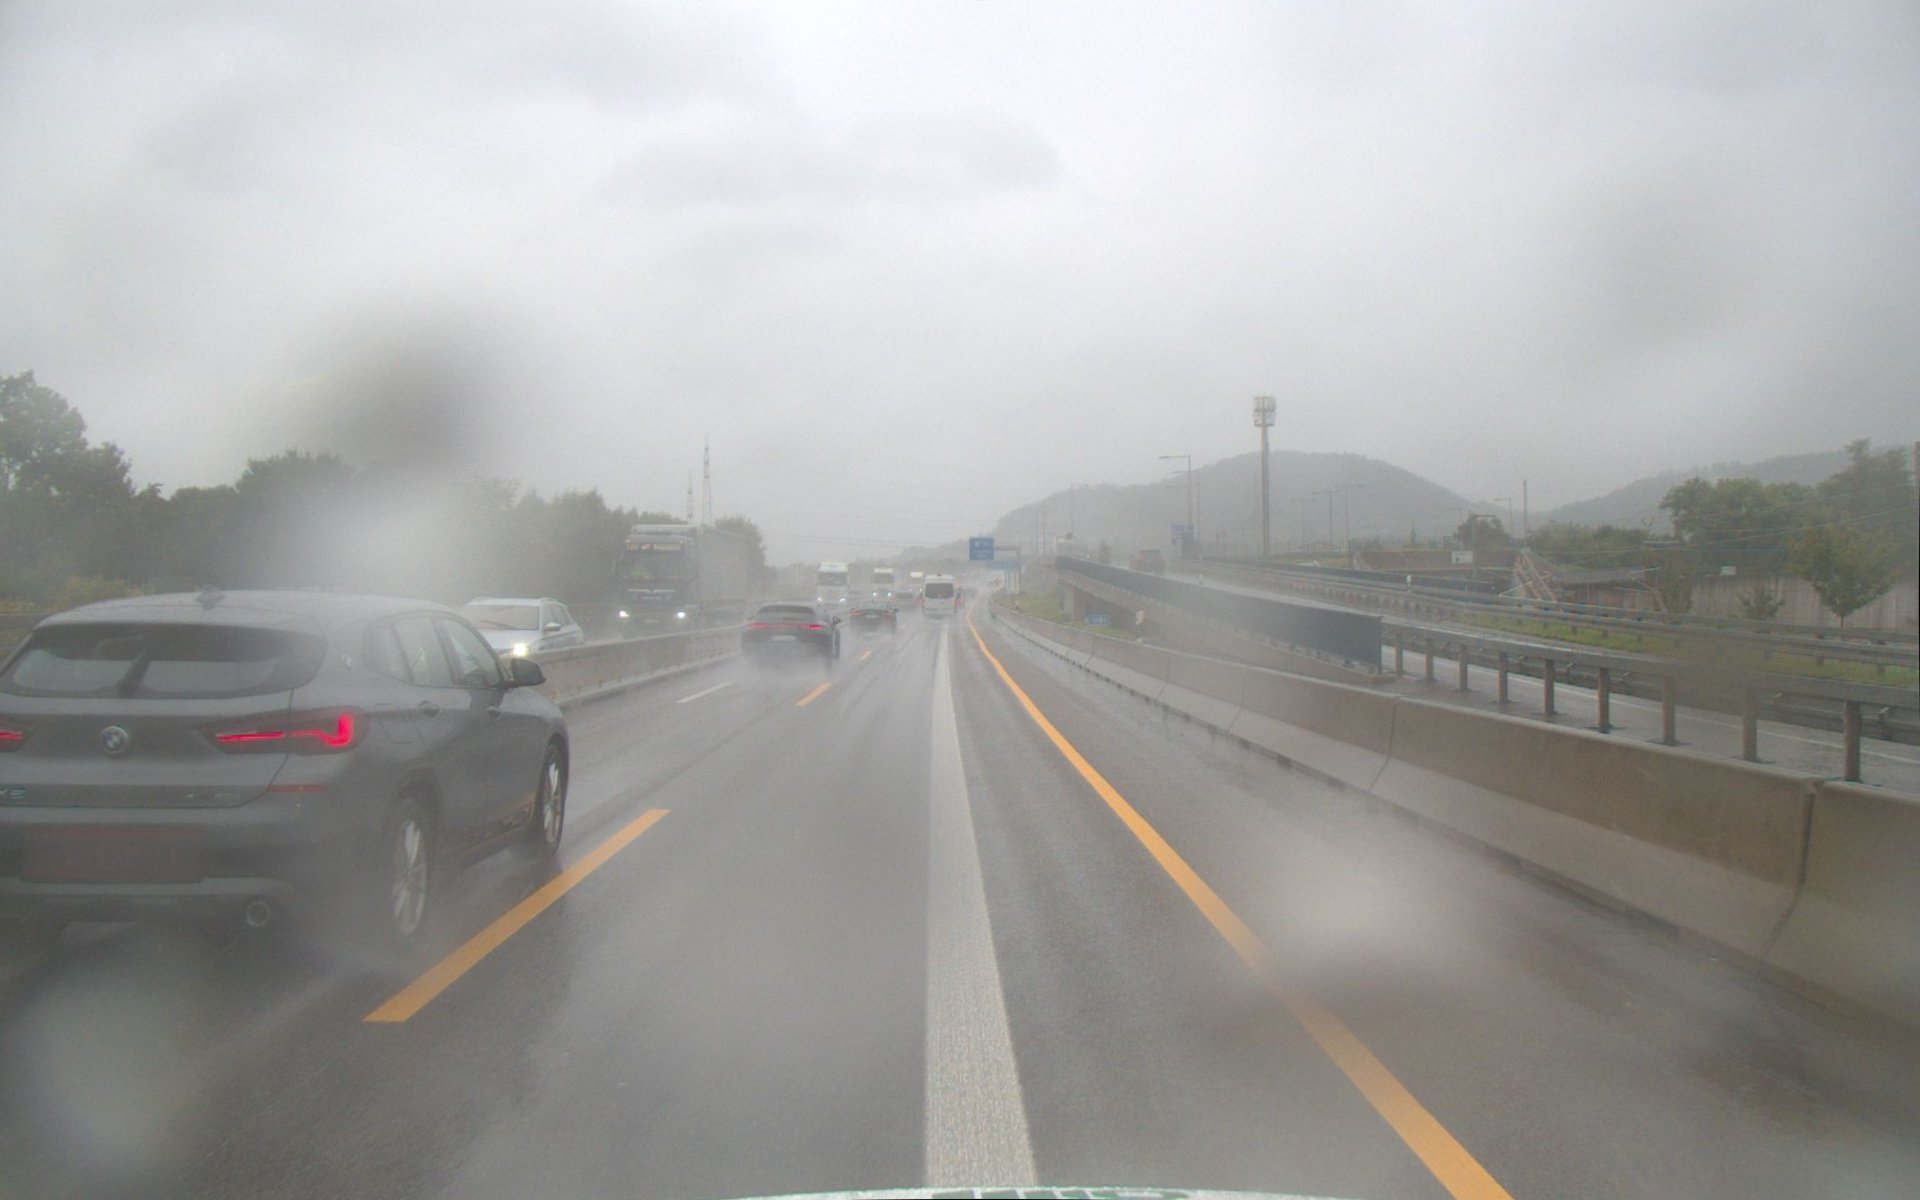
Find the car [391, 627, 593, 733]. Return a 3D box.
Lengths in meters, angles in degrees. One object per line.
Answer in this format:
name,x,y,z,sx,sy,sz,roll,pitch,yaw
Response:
car,-7.494,1.233,27.019,1.996,1.533,4.719,1,-1,-1

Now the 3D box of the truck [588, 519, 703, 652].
truck,-10.515,-0.419,55.952,2.588,4.199,6.694,1,-1,-1

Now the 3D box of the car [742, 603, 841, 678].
car,-3.637,0.858,36.290,1.807,1.517,4.260,1,-1,-1

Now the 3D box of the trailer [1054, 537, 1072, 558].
trailer,13.765,-7.006,221.188,1.952,2.143,13.771,1,-1,2

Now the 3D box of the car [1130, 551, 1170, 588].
car,12.023,-1.916,104.693,1.953,2.180,3.999,1,-1,-1

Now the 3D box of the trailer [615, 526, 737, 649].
trailer,-10.605,-0.353,63.085,2.596,4.181,12.312,1,-1,-1

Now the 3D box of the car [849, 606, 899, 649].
car,-3.344,1.057,64.910,1.807,1.517,4.261,-2,1,-1

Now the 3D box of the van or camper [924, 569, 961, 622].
van or camper,-0.973,-0.208,91.103,1.956,2.826,4.048,1,-1,-1

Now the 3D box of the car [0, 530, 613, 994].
car,-3.023,0.577,8.239,1.666,1.626,4.844,0,0,-1

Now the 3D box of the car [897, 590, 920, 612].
car,-3.671,0.071,117.596,1.535,1.506,2.821,-2,-1,-1
